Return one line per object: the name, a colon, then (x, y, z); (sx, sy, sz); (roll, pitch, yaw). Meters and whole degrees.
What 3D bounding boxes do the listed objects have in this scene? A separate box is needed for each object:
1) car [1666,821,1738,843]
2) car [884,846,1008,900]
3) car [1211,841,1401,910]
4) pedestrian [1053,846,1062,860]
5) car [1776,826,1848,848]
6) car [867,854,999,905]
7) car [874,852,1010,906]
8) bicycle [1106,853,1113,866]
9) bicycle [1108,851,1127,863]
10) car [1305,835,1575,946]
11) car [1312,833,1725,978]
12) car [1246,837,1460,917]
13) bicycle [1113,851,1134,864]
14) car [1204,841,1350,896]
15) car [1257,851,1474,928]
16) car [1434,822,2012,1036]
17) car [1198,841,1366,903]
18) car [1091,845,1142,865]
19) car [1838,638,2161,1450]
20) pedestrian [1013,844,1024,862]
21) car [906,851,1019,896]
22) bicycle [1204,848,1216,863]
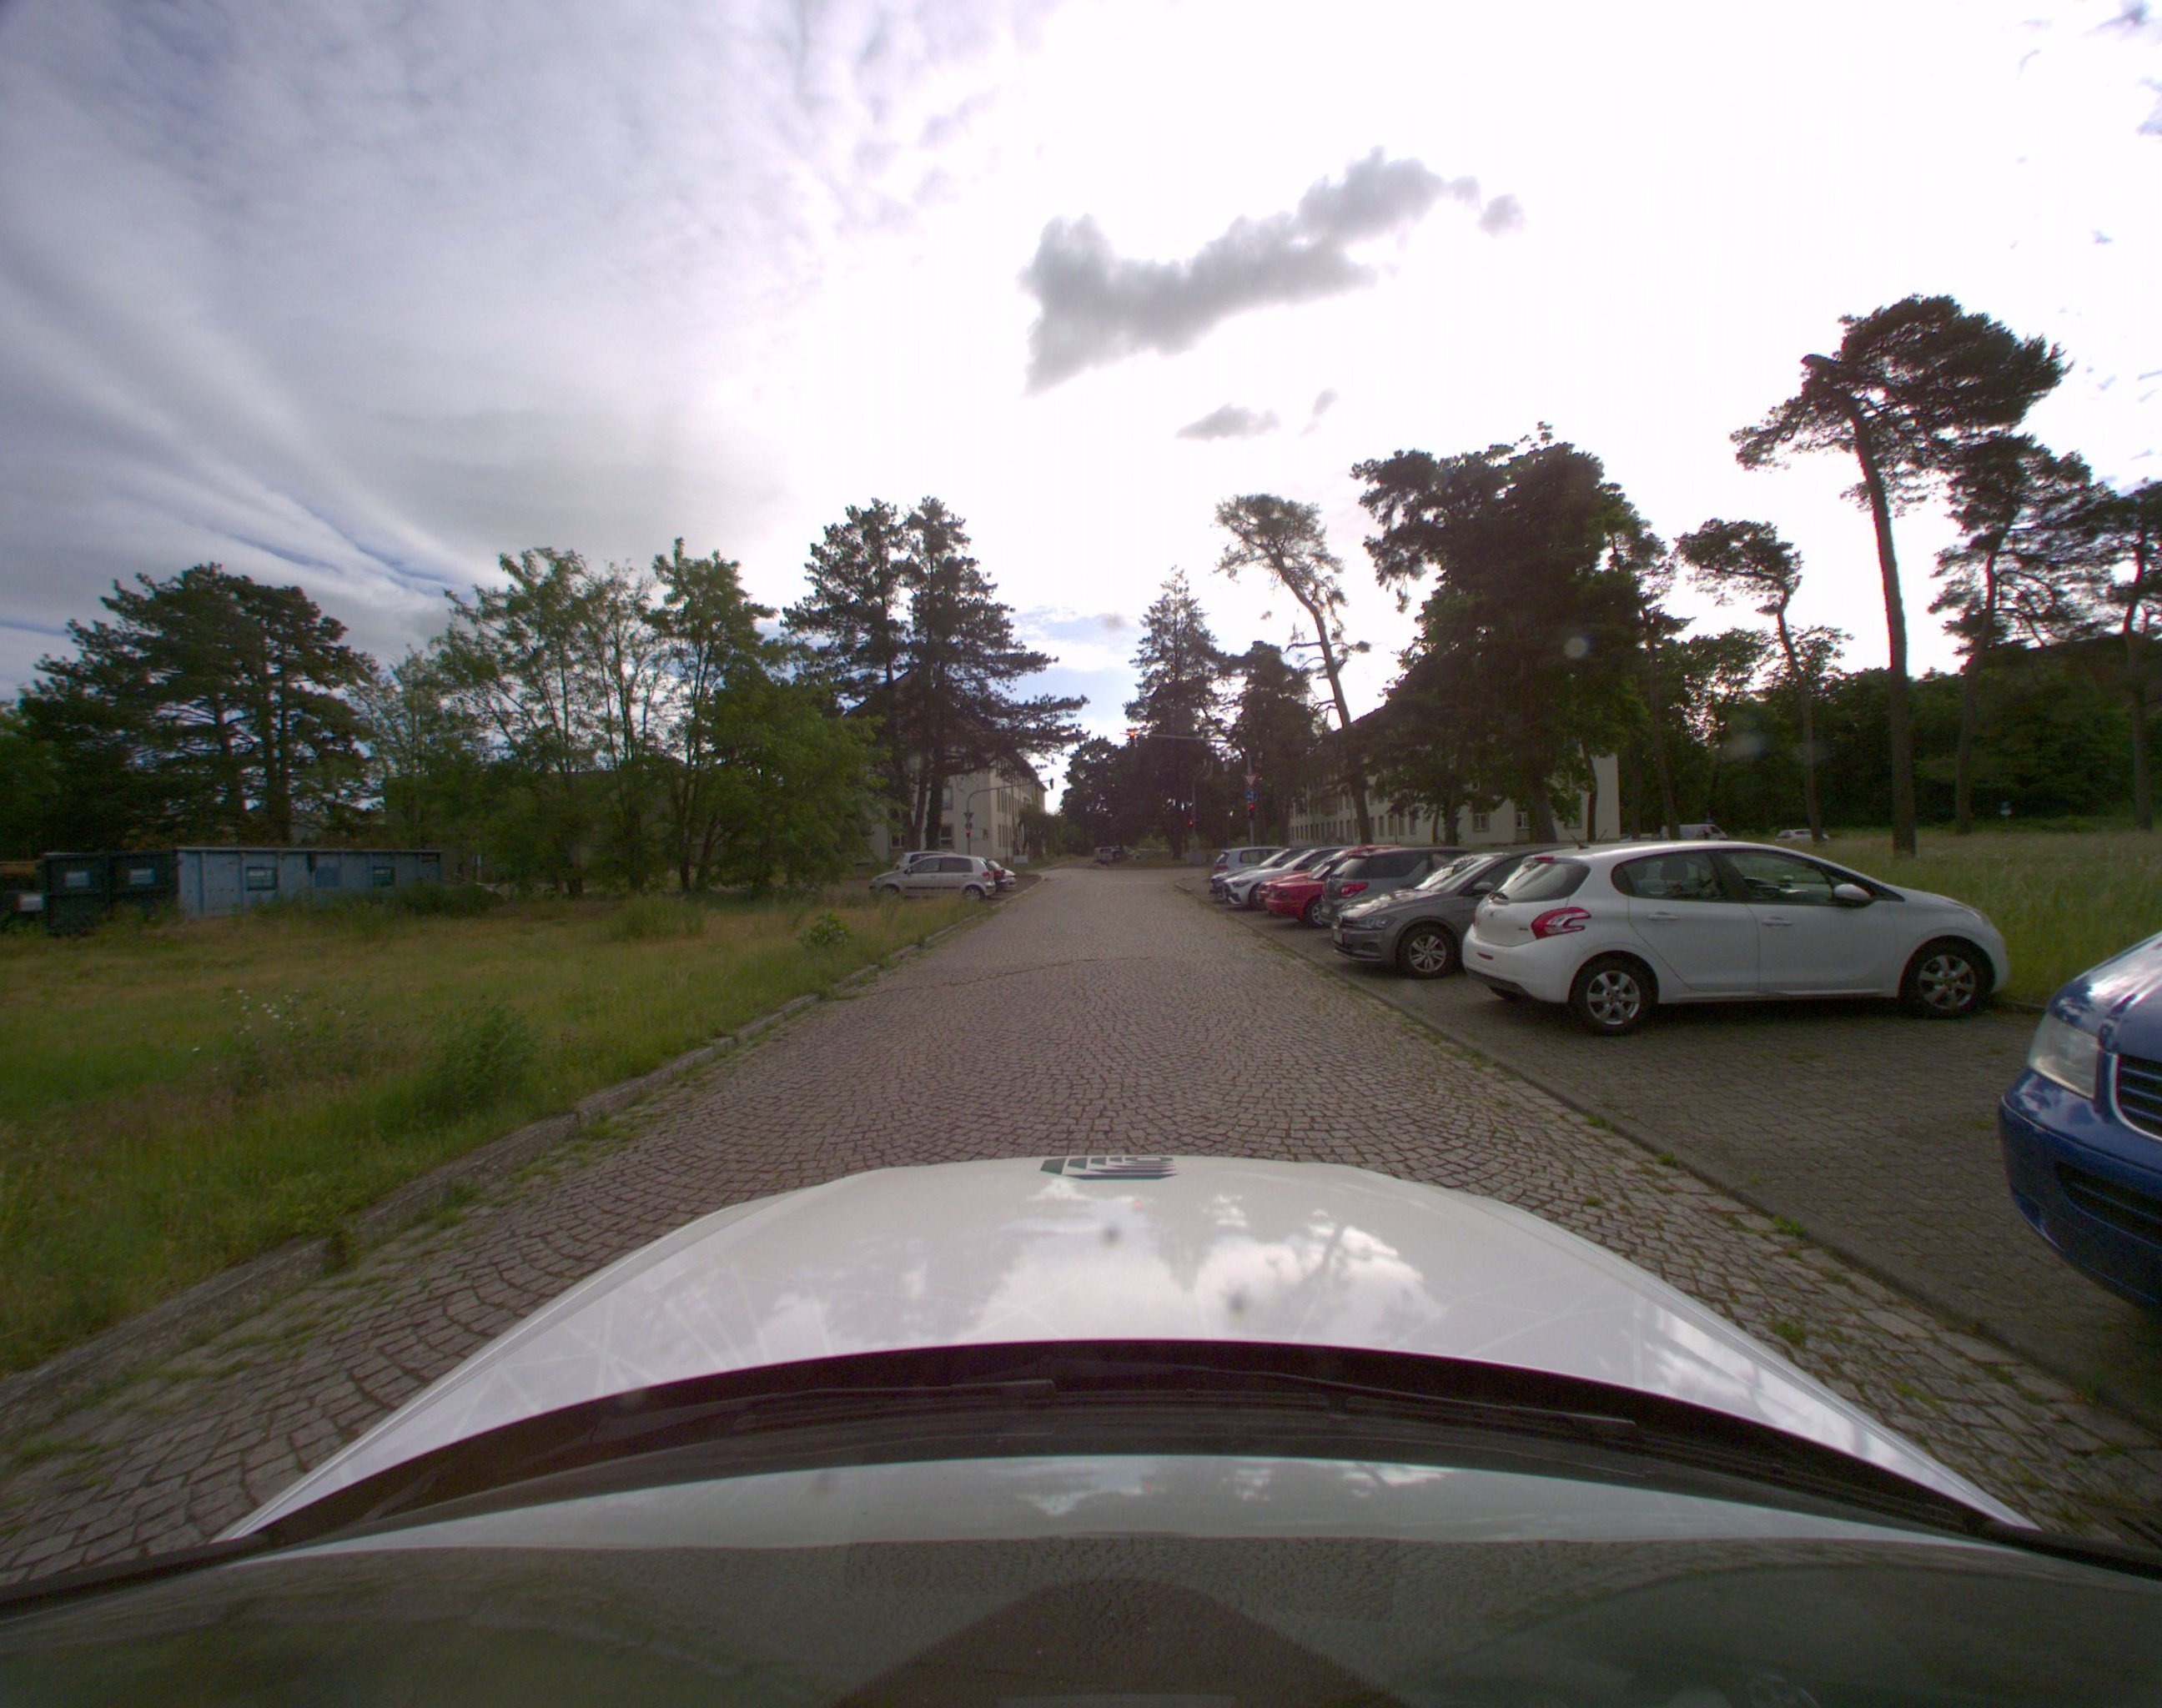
car: (59.248, -2.084, 77.784); (5.280, 2.019, 2.107); (0, 0, 2)
car: (-4.944, 0.664, 30.233); (4.289, 1.732, 1.650); (-3, 0, -4)
car: (5.533, 0.500, 20.262); (4.180, 1.437, 1.752); (-3, 0, -6)
pedestrian: (-3.507, -0.157, 122.207); (1.237, 1.959, 1.120); (0, 0, -4)
car: (60.113, -1.382, 67.032); (4.116, 1.804, 1.902); (0, 0, 3)
car: (-4.438, 0.757, 24.820); (3.710, 1.481, 1.672); (0, 0, -2)
car: (-4.588, 0.803, 27.421); (4.290, 1.554, 1.809); (-3, 0, -5)
bicycle: (2.557, 0.488, 73.139); (0.660, 1.171, 1.888); (0, 0, 2)
bicycle: (3.643, 0.323, 81.255); (1.878, 1.171, 0.664); (0, 0, -4)
car: (5.554, 0.537, 12.928); (3.493, 1.487, 1.743); (-3, 0, 1)
car: (5.169, 0.580, 10.066); (4.115, 1.447, 1.766); (-3, 0, 1)
car: (5.873, 0.477, 17.893); (4.092, 1.476, 1.684); (-3, 0, -1)
bicycle: (4.046, 0.324, 77.750); (1.878, 1.171, 0.664); (0, 0, -4)
car: (6.109, 0.421, 25.575); (4.127, 1.463, 1.631); (-3, 0, -4)
car: (5.310, 0.640, 15.559); (3.572, 1.222, 1.630); (-3, 0, 2)
car: (5.321, 0.574, 7.157); (3.640, 1.478, 1.766); (-3, 0, 1)
car: (5.633, 0.472, 23.029); (4.228, 1.479, 1.704); (-3, 0, -10)
car: (4.040, 0.074, 92.561); (5.378, 2.101, 2.170); (-2, 0, -11)
car: (5.027, 0.367, 1.851); (4.781, 2.004, 1.966); (-3, 0, -1)
pedestrian: (-6.984, -0.121, 90.447); (1.070, 1.959, 1.122); (0, 0, 1)
car: (-4.681, 0.759, 32.684); (4.290, 1.554, 1.809); (-3, 0, -5)
bicycle: (9.867, 0.100, 62.377); (0.660, 1.051, 1.889); (0, 1, 2)
